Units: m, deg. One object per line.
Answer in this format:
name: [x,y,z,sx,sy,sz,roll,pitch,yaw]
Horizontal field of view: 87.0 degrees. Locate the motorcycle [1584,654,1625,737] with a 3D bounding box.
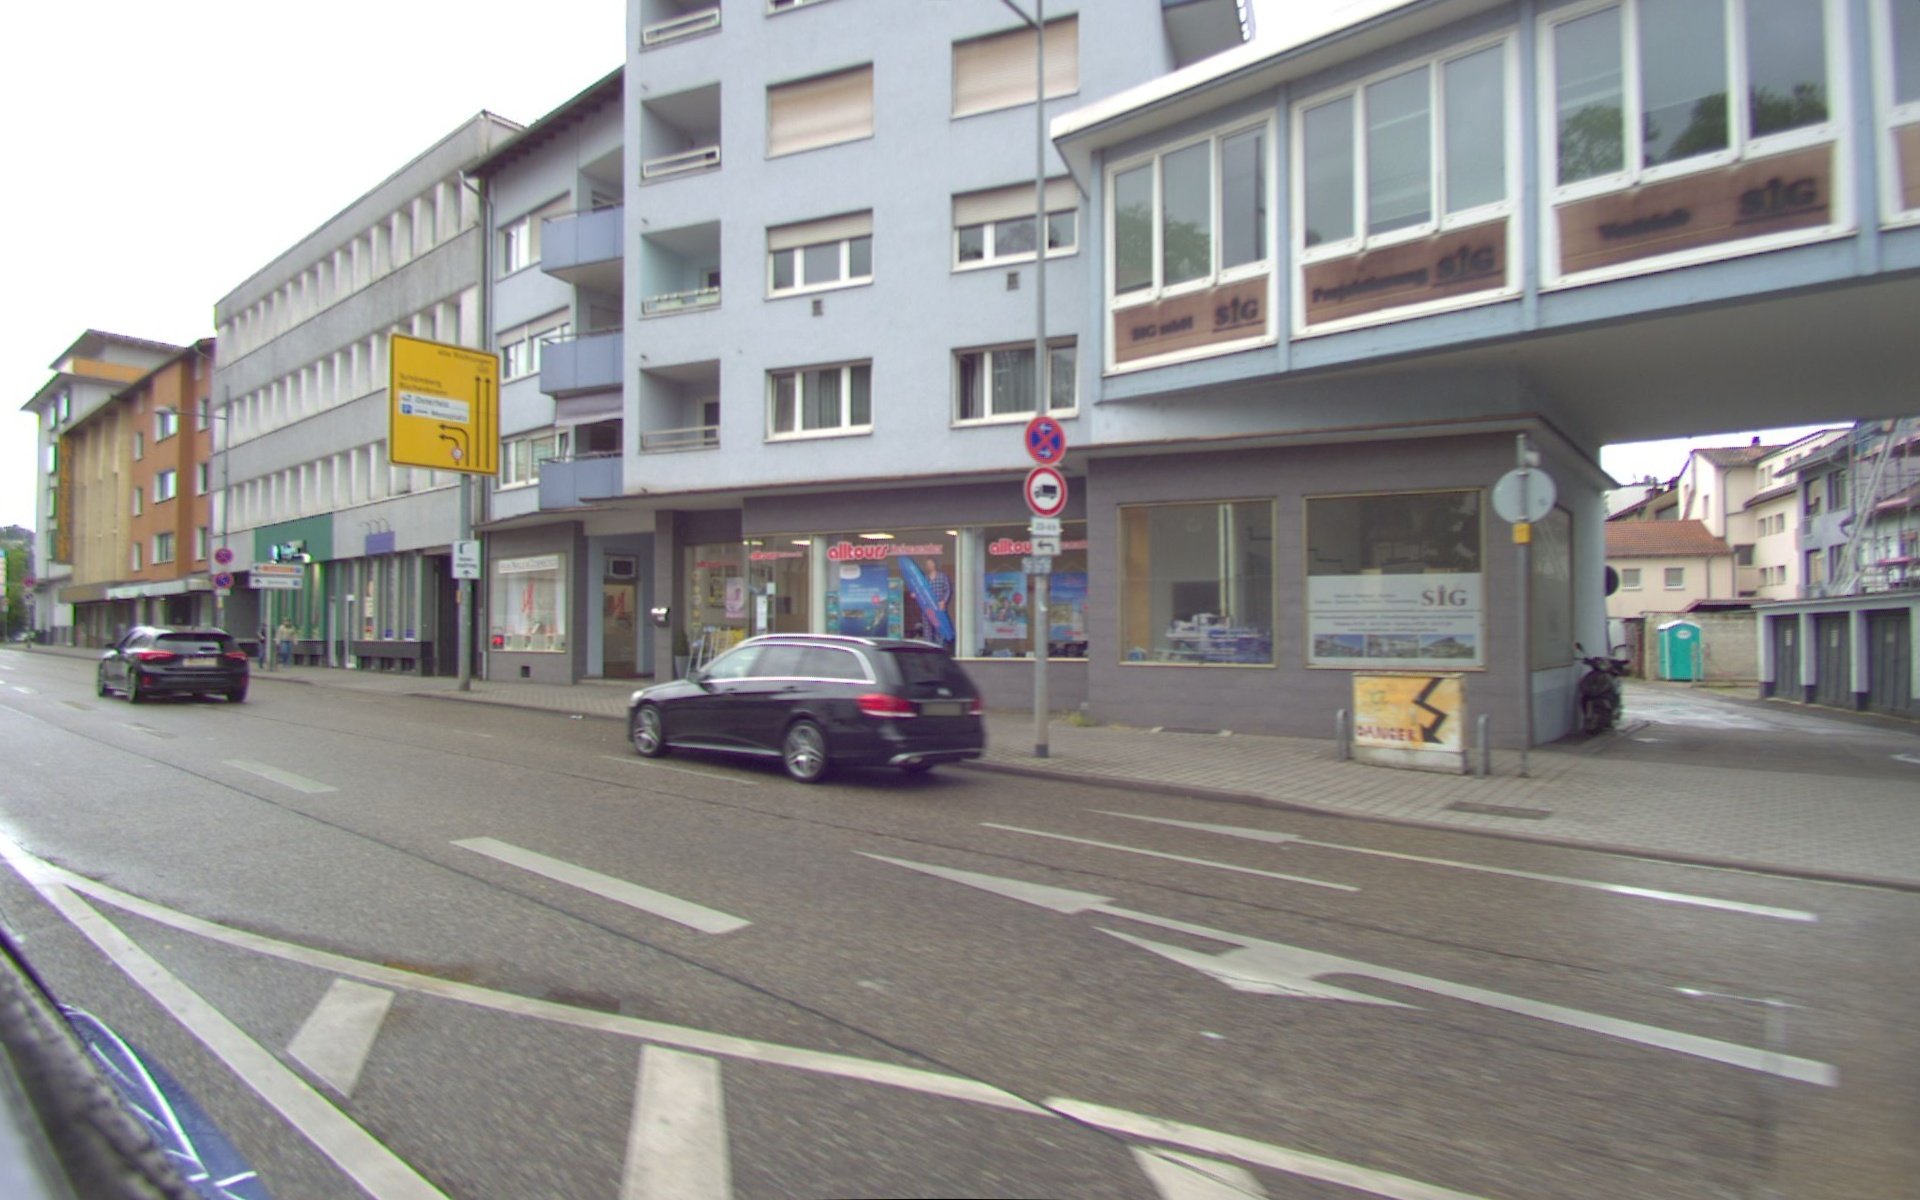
motorcycle: [9.929,1.444,15.581,0.387,1.187,1.348,-1,-3,38]

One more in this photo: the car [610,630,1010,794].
car: [-1.863,1.124,11.424,4.826,1.479,1.690,-2,-5,41]

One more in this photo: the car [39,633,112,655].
car: [-65.673,3.299,75.190,1.796,1.431,3.773,0,-4,40]

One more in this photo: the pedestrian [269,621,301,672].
pedestrian: [-23.411,1.609,35.085,0.907,1.688,0.624,-1,2,39]

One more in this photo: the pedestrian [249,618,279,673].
pedestrian: [-23.794,1.547,34.616,0.826,1.802,0.569,-1,2,40]

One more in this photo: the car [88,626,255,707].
car: [-15.586,1.268,19.927,4.162,1.434,1.703,-1,-5,40]
